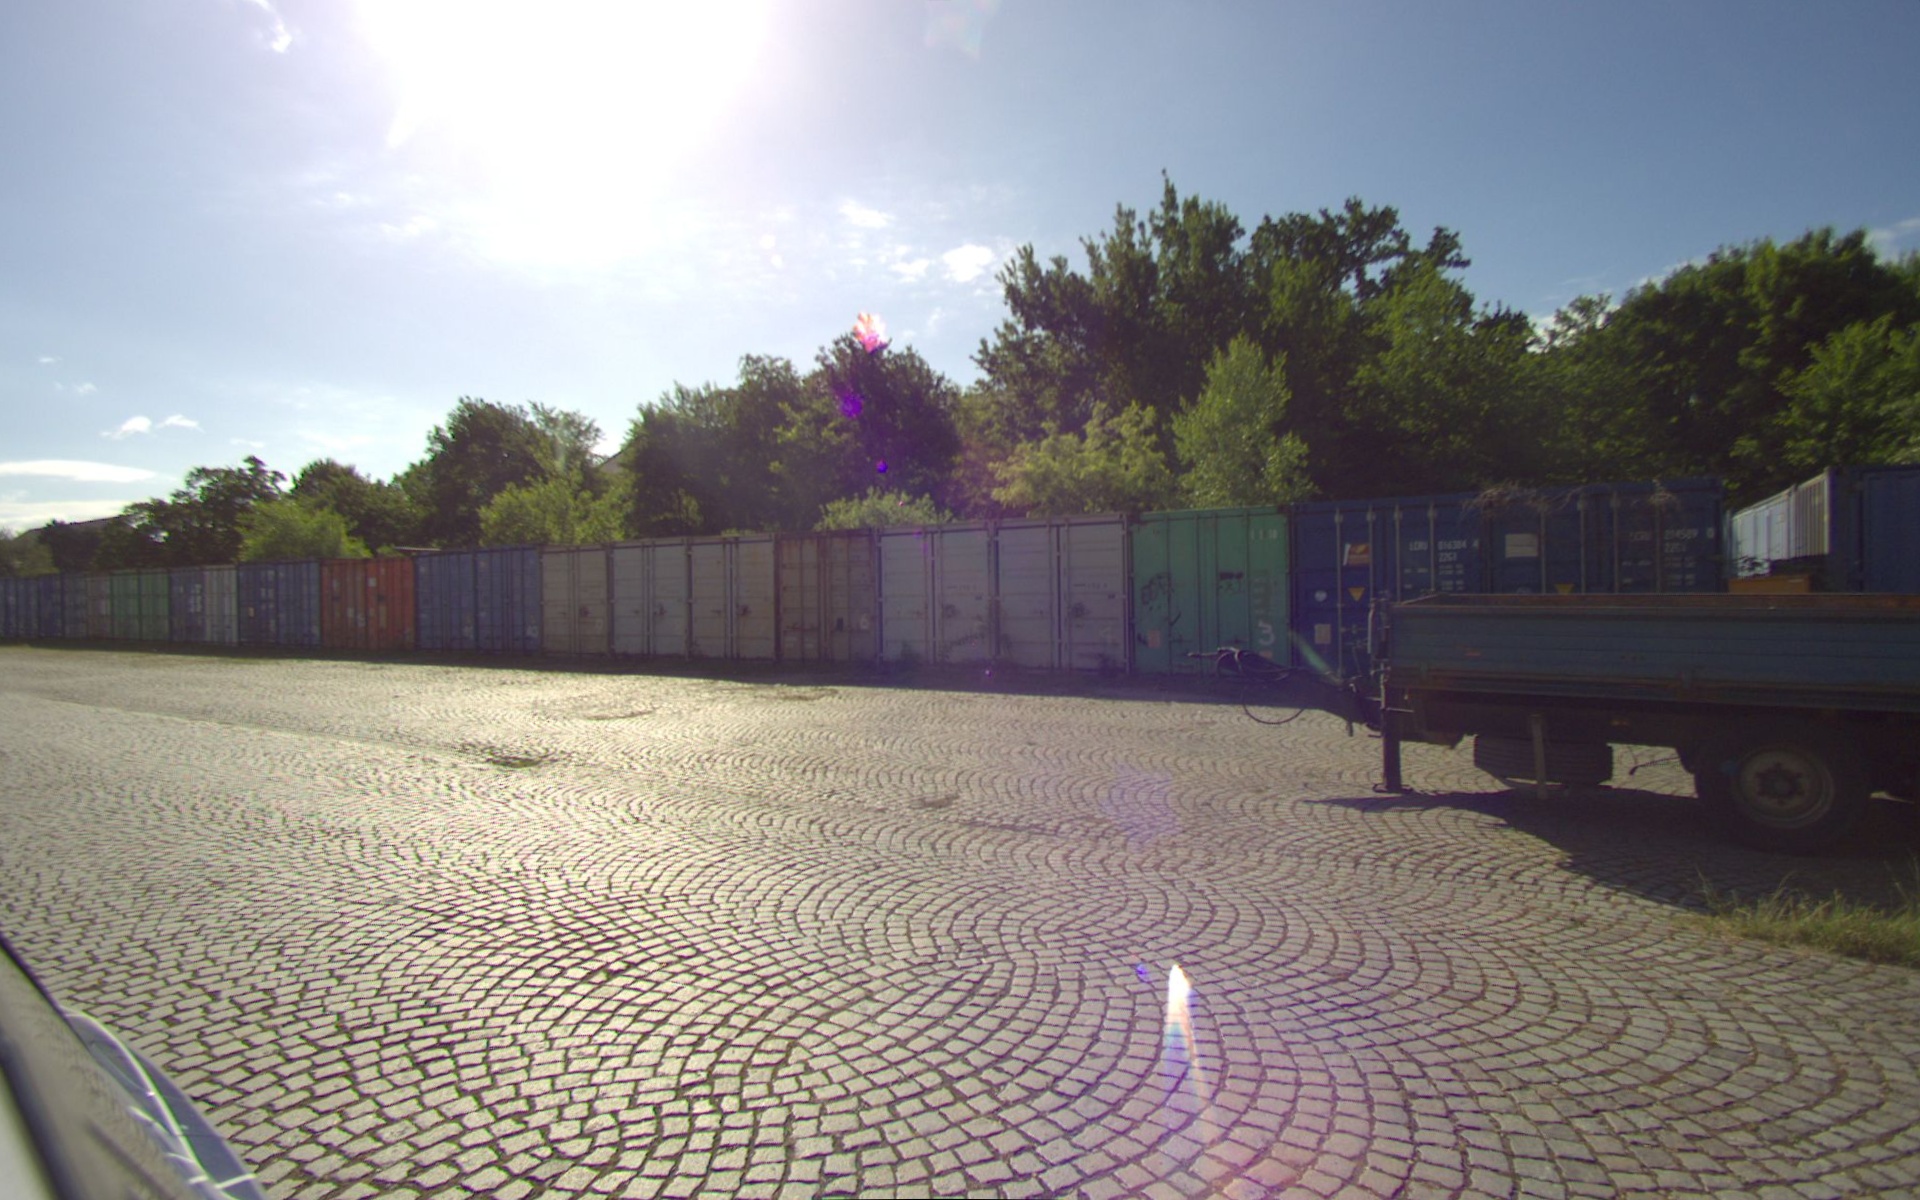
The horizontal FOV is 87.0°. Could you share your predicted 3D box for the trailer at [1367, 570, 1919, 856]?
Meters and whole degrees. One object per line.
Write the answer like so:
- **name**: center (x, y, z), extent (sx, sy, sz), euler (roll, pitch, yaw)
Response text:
- **trailer**: center (5.337, 0.540, 6.252), extent (4.848, 1.425, 2.620), euler (0, 1, 33)
